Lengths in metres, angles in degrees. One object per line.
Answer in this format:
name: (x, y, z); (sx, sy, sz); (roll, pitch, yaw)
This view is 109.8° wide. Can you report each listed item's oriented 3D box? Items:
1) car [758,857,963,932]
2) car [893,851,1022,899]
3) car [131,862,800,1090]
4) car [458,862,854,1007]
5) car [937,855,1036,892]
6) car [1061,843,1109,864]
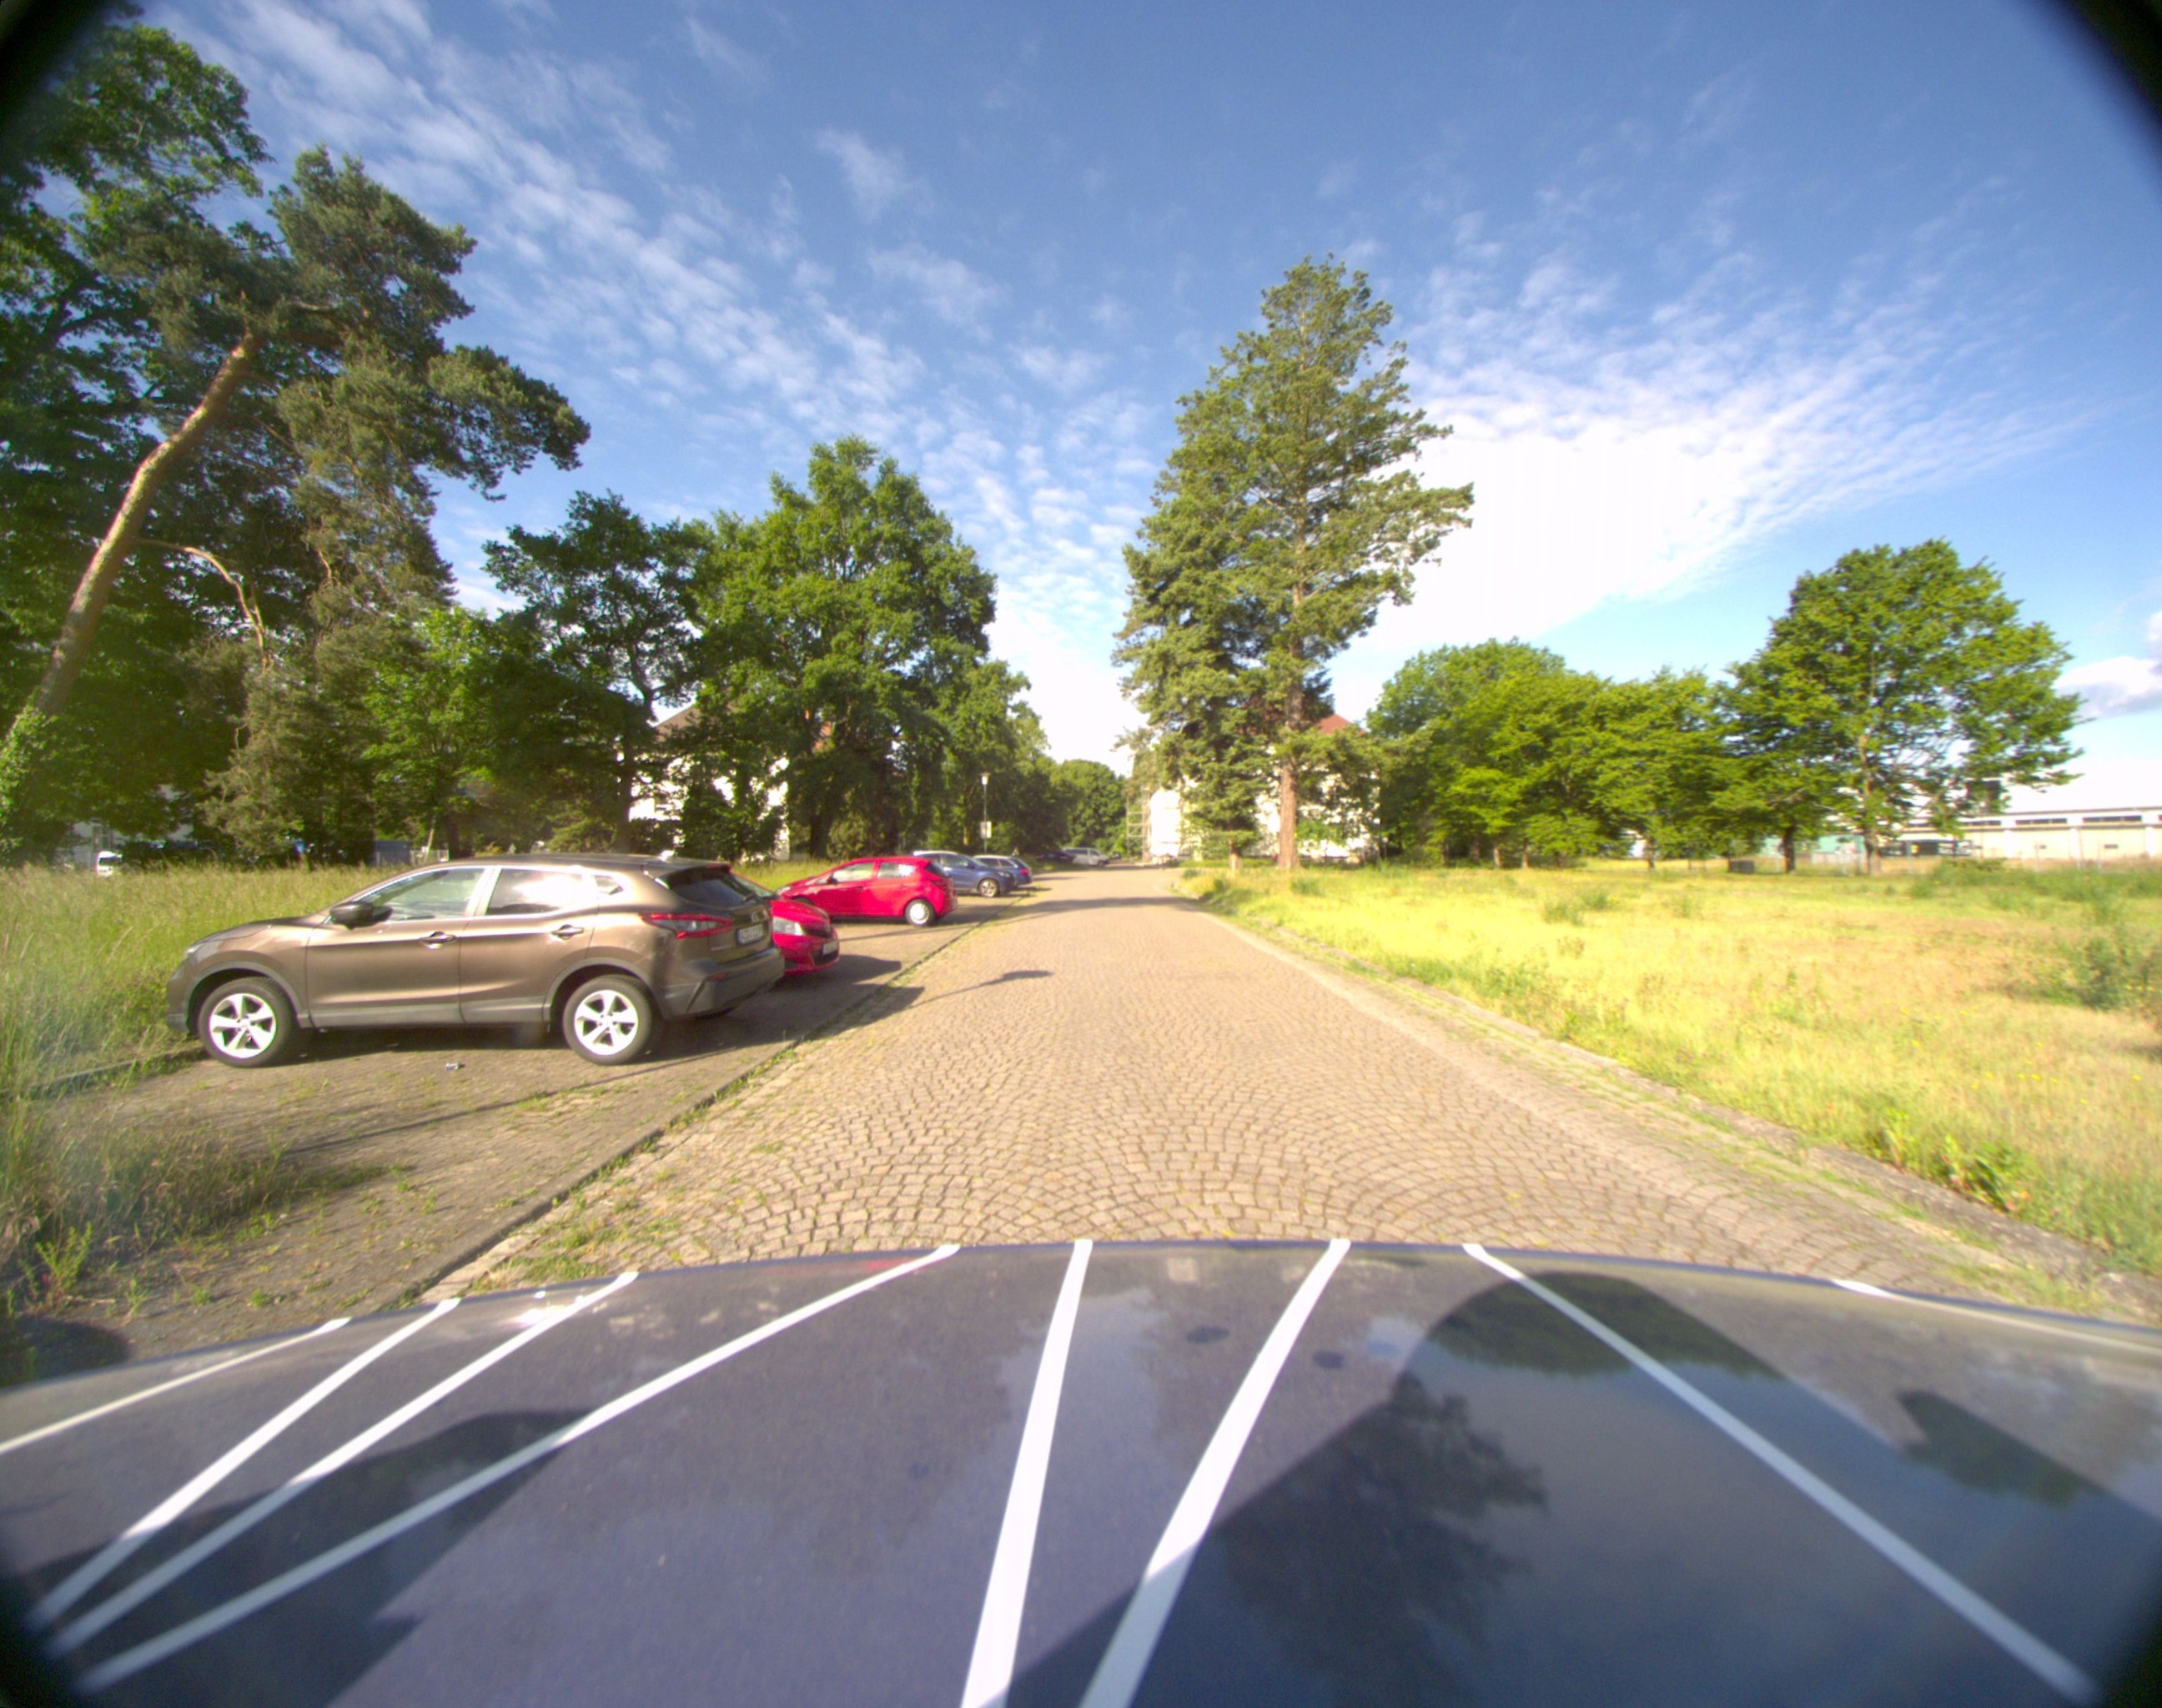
car: (-4.732, 0.854, 16.644); (3.997, 1.487, 1.540); (-1, 1, 1)
car: (-4.318, 0.714, 26.926); (4.273, 1.589, 1.651); (1, 1, 1)
car: (-4.757, 0.890, 6.377); (4.117, 1.602, 1.786); (0, 1, 0)
car: (-4.925, 0.889, 9.184); (3.834, 1.530, 1.703); (0, 1, 1)
car: (-3.884, 0.795, 31.669); (3.809, 1.458, 1.747); (-1, 1, 2)
car: (0.413, -0.052, 80.460); (4.993, 2.123, 2.164); (0, 1, -1)
